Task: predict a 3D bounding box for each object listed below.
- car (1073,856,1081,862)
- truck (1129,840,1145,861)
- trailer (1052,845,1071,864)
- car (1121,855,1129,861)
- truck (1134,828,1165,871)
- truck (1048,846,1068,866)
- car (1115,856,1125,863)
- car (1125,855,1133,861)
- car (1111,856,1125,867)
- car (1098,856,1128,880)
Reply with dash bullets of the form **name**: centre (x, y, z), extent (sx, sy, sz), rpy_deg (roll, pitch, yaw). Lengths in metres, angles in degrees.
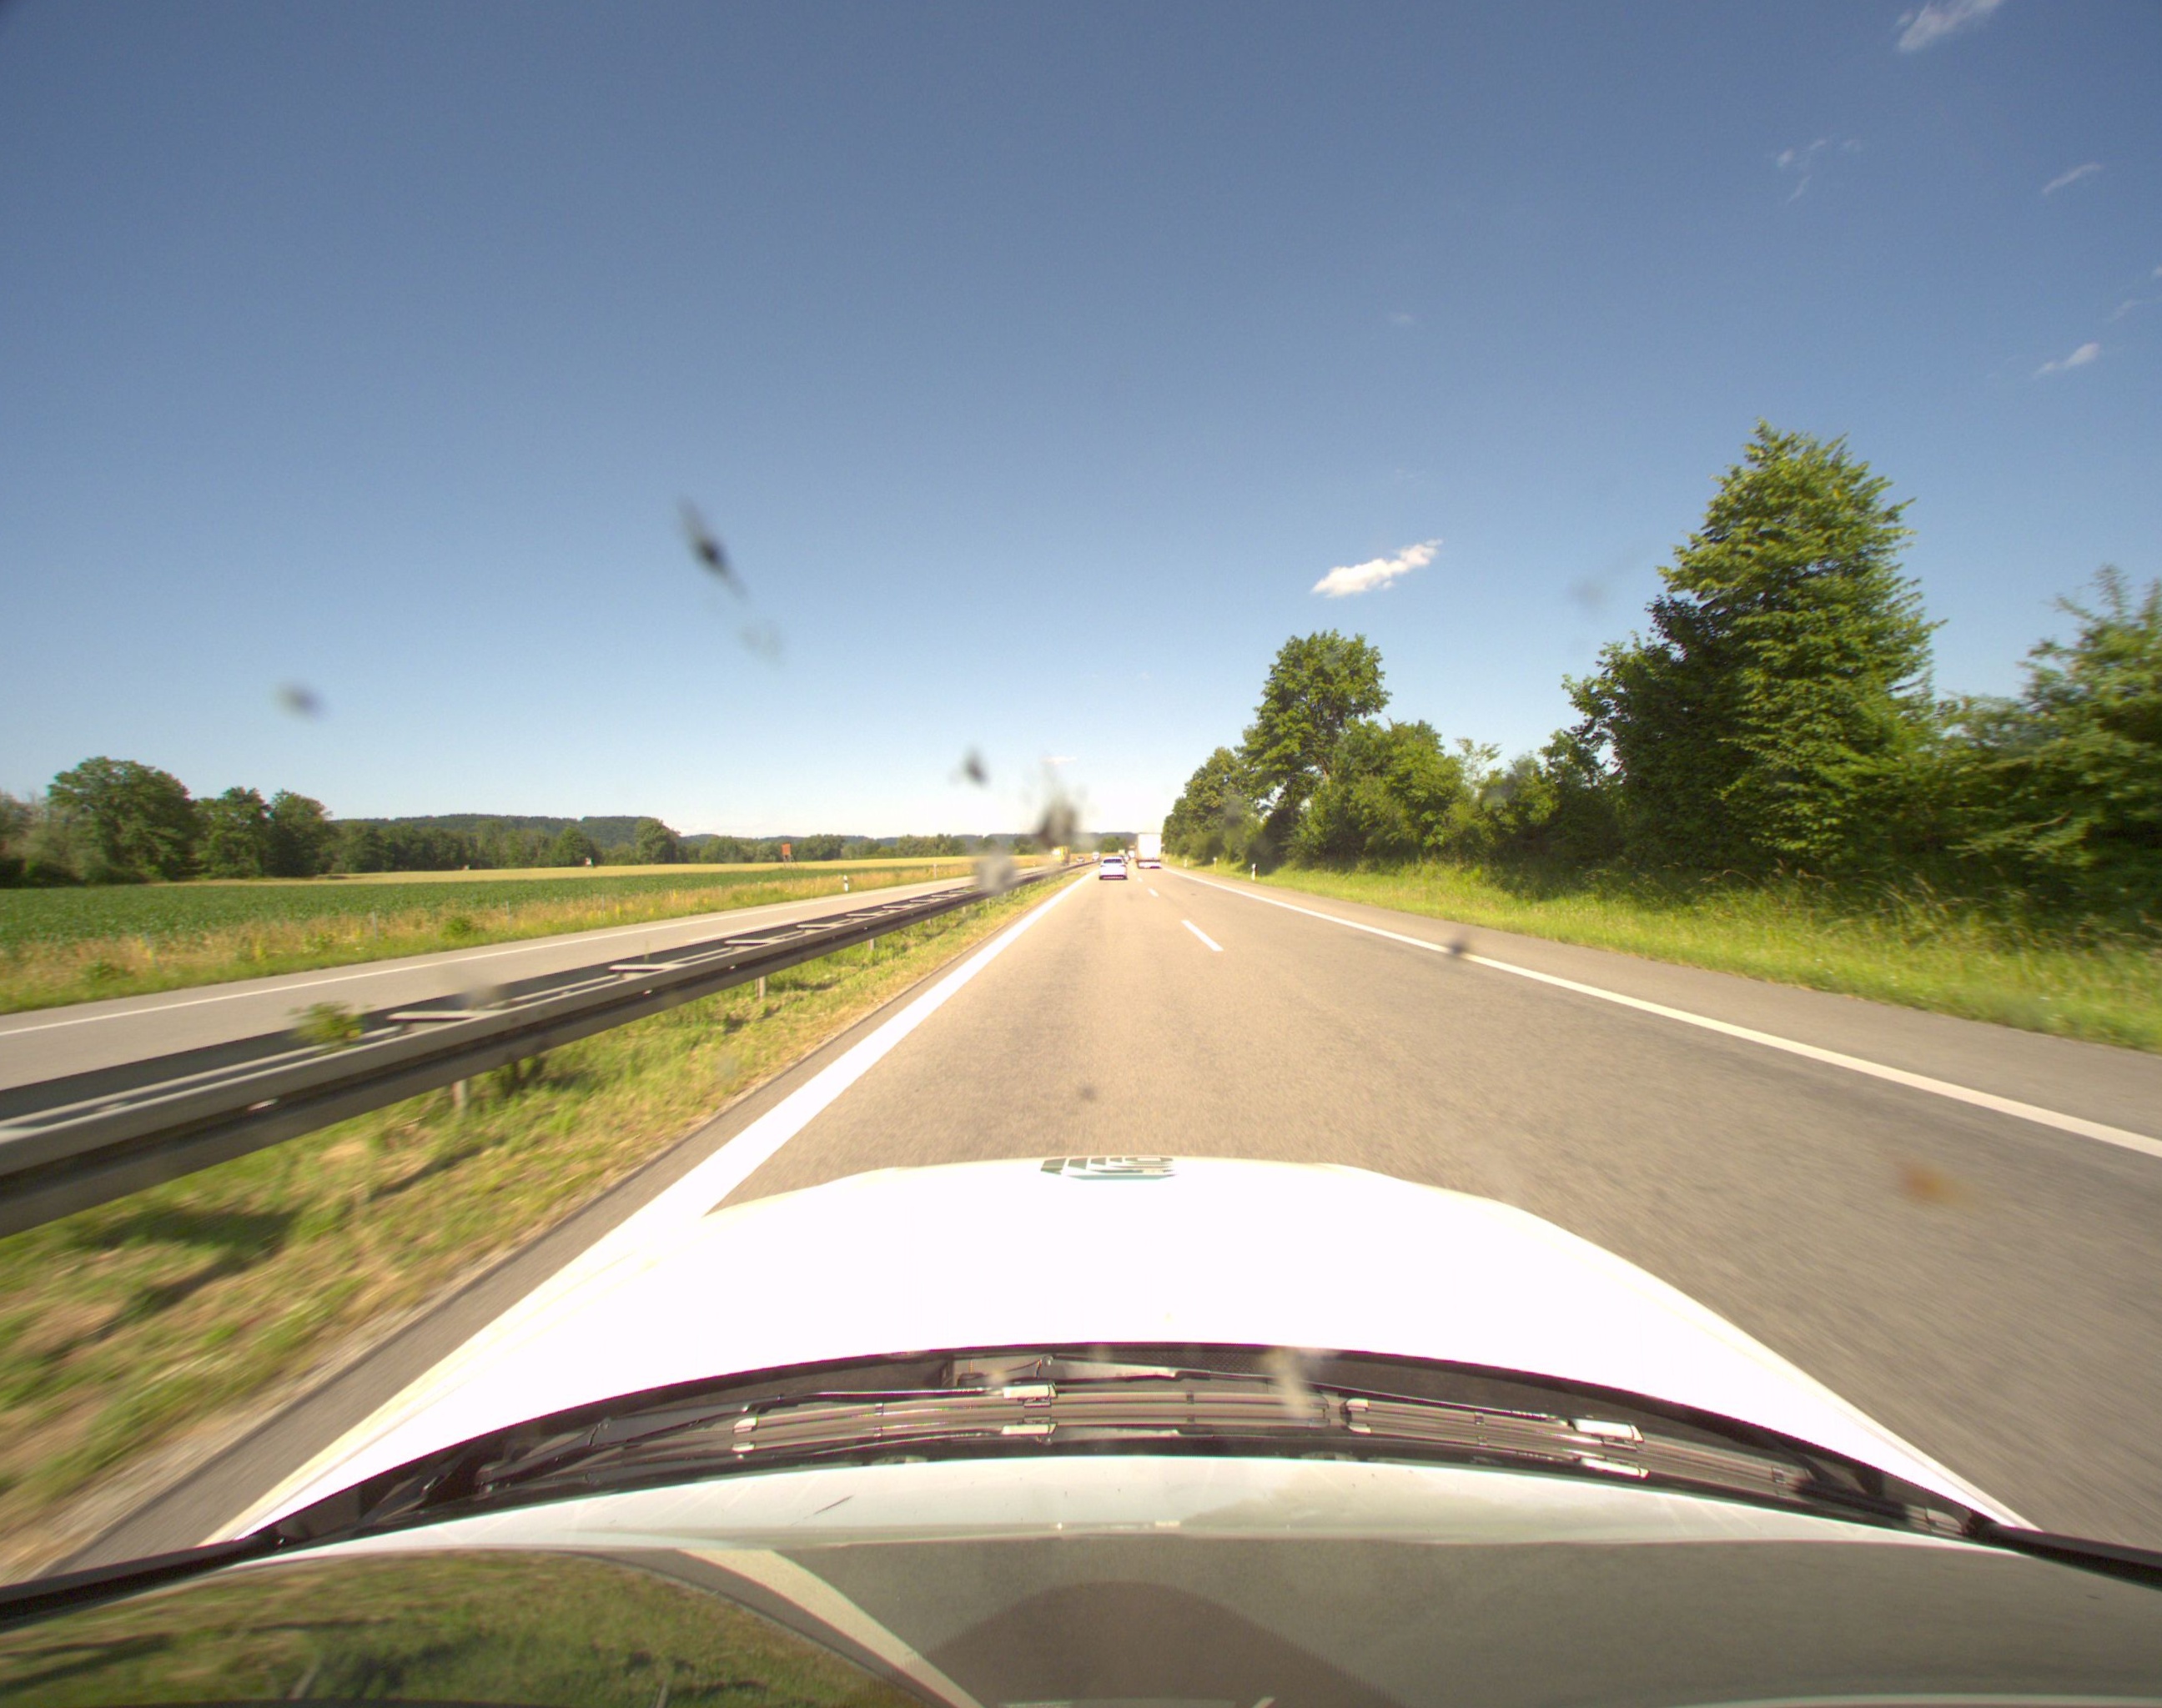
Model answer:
- **car**: centre (-0.980, 1.285, 208.959), extent (1.828, 1.376, 4.003), rpy_deg (-2, 0, 3)
- **truck**: centre (11.080, -0.689, 162.125), extent (3.000, 4.115, 8.915), rpy_deg (-2, 0, 4)
- **trailer**: centre (-3.627, 0.095, 155.179), extent (2.724, 3.460, 9.239), rpy_deg (-3, 0, 3)
- **car**: centre (10.732, 1.077, 197.800), extent (1.764, 1.421, 4.367), rpy_deg (0, 0, 3)
- **truck**: centre (7.881, -0.488, 94.824), extent (3.139, 4.612, 8.912), rpy_deg (-2, 0, 3)
- **truck**: centre (-4.056, 0.372, 145.942), extent (2.725, 3.383, 9.239), rpy_deg (-4, 0, 3)
- **car**: centre (7.326, 1.047, 153.998), extent (1.764, 1.421, 4.367), rpy_deg (0, 0, 3)
- **car**: centre (13.010, 1.069, 220.164), extent (1.762, 1.421, 4.373), rpy_deg (-1, 0, 6)
- **car**: centre (4.880, 0.990, 108.675), extent (1.764, 1.421, 4.497), rpy_deg (0, 0, 2)
- **car**: centre (2.069, 0.853, 52.762), extent (1.833, 1.421, 5.256), rpy_deg (0, 0, 2)
